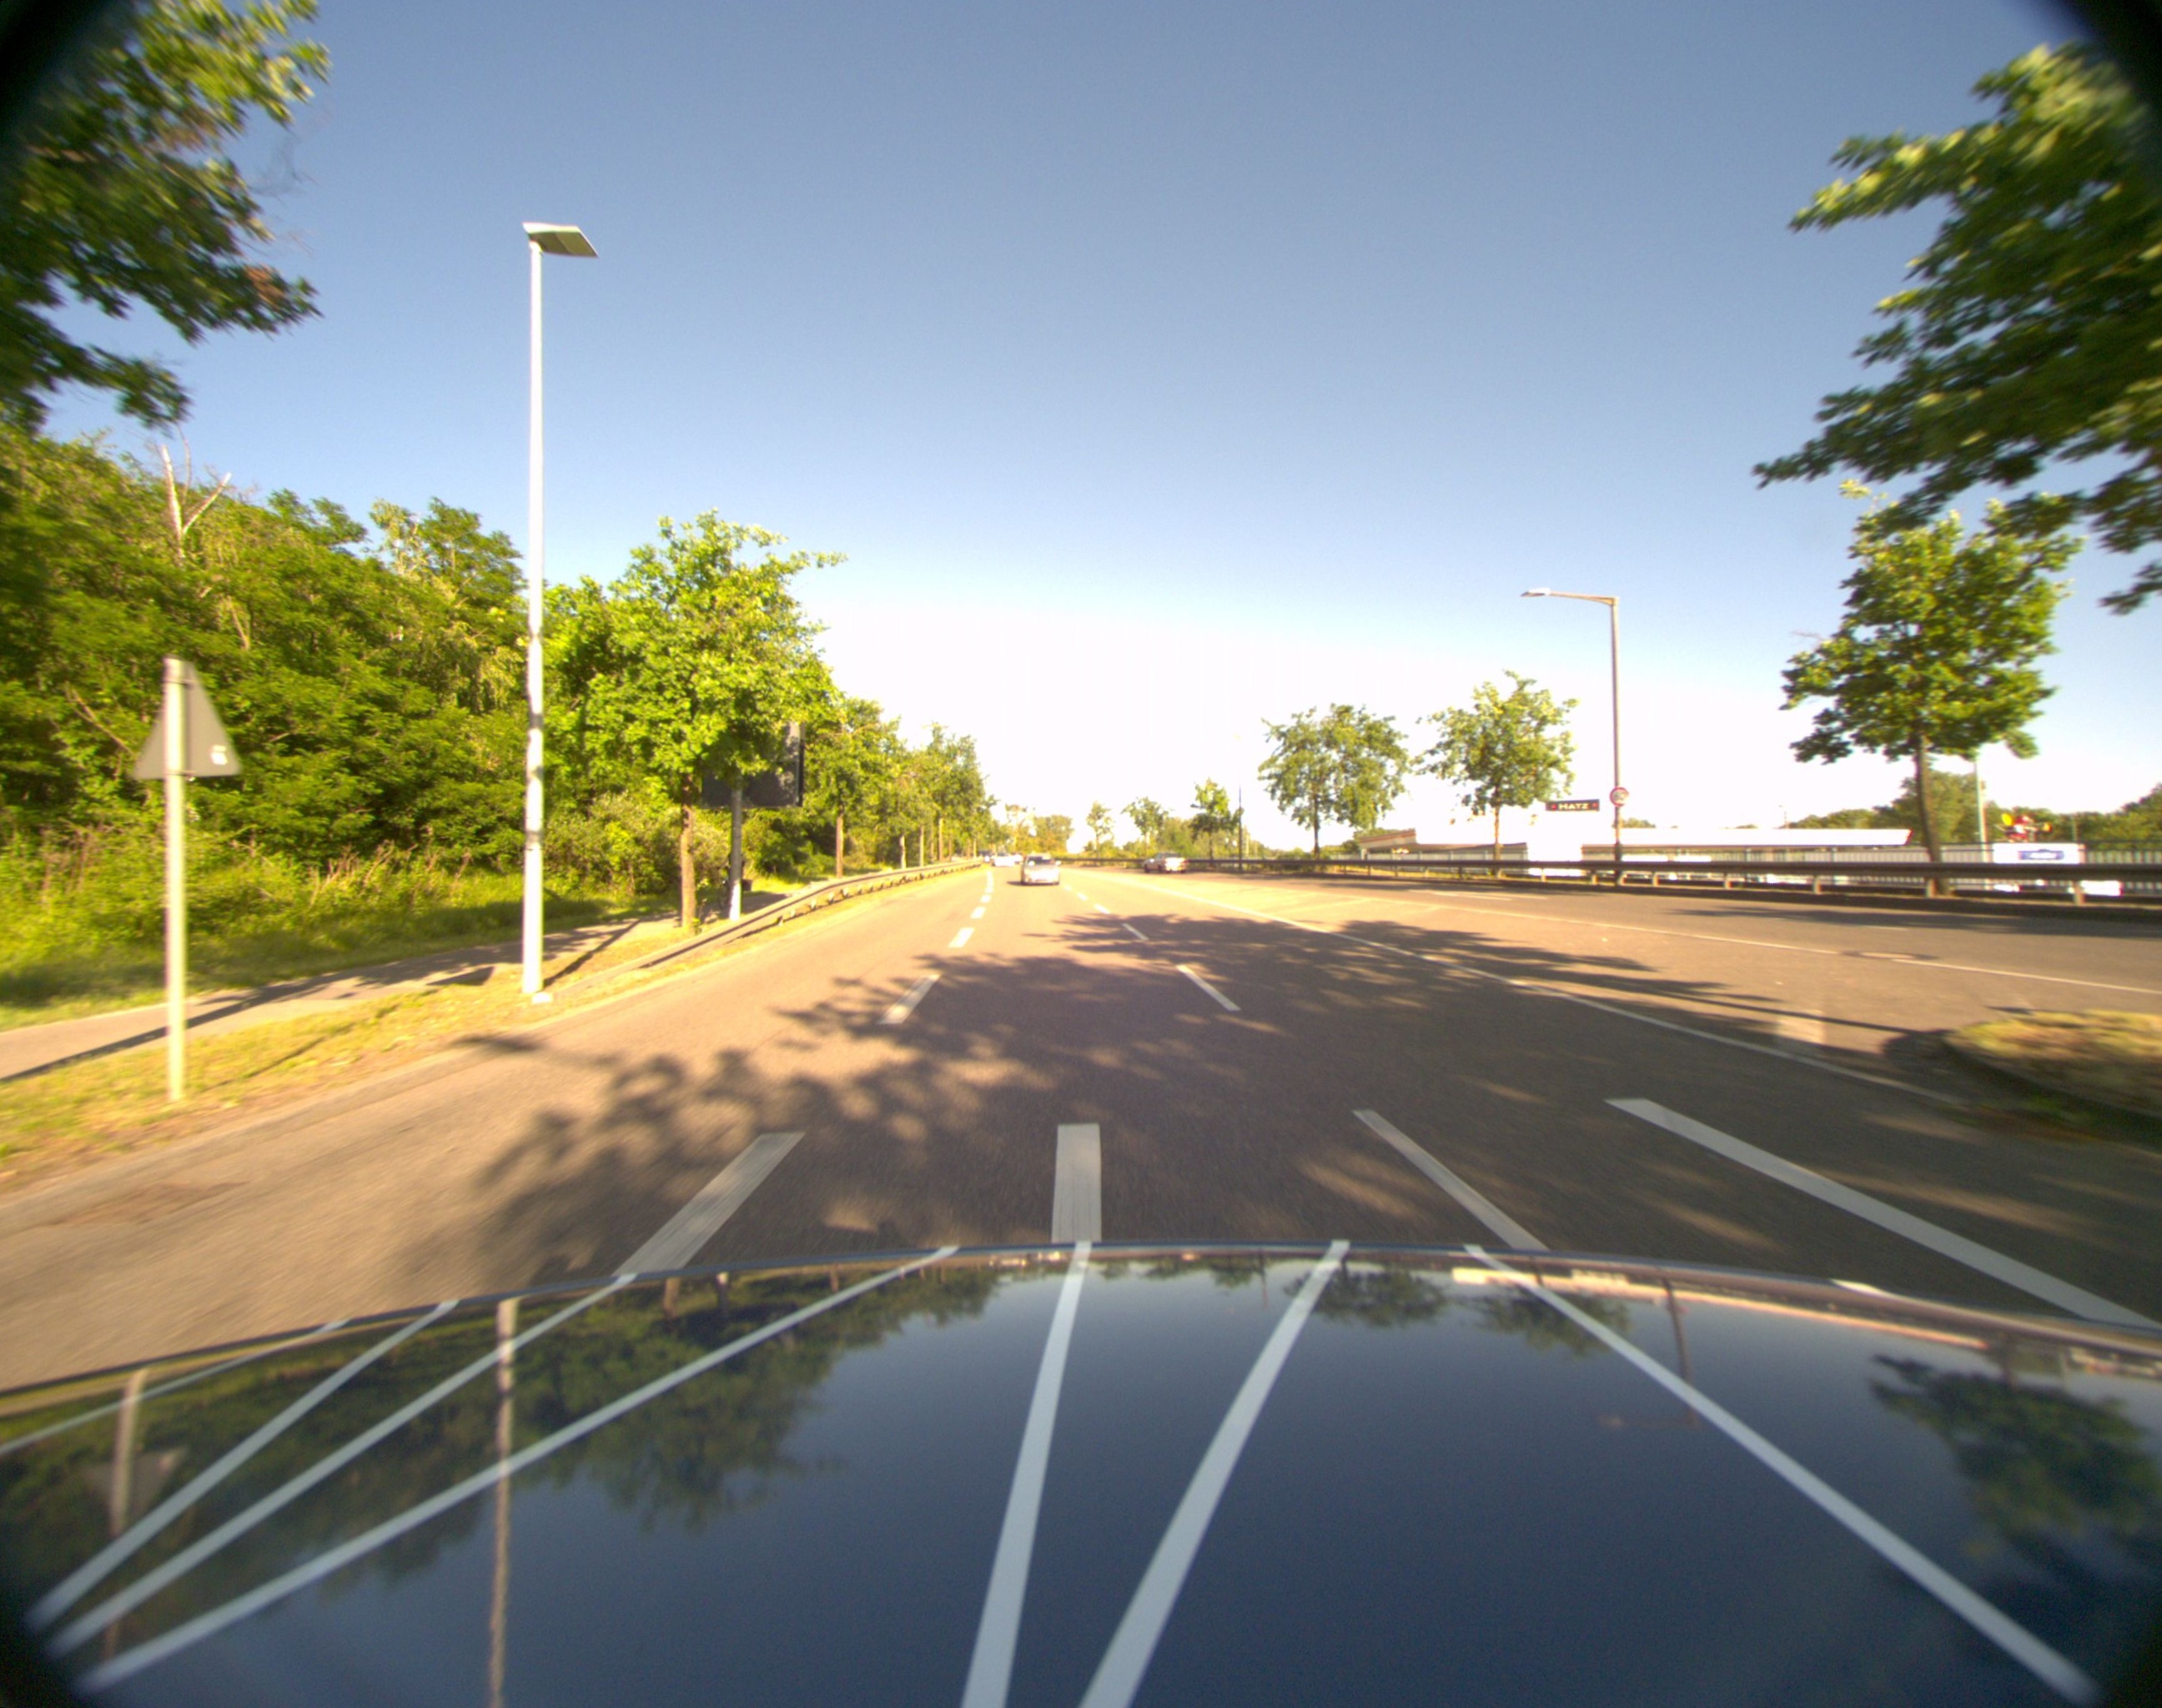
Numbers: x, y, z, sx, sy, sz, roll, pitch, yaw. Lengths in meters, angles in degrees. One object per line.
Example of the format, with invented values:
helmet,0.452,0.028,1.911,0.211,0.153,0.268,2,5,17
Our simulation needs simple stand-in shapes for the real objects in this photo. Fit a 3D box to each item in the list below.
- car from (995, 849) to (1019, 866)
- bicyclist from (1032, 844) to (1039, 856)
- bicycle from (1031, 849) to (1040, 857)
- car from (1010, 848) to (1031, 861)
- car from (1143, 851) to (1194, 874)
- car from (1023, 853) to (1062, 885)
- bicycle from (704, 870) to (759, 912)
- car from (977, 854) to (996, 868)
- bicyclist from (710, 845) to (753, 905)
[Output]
car,-7.556,0.383,77.211,2.152,1.558,4.194,3,0,-9
bicyclist,-6.469,-0.584,107.969,0.654,1.614,0.873,1,0,-17
bicycle,-6.480,-0.112,107.926,0.663,1.089,2.105,1,0,-17
car,-7.441,0.026,93.476,1.769,1.480,4.271,-1,1,-15
car,5.485,0.524,48.384,1.736,1.377,4.491,-1,0,-14
car,-1.884,0.689,36.394,1.684,1.433,3.857,2,0,-5
bicycle,-9.608,0.998,20.957,0.703,1.068,1.920,2,0,-3
car,-11.486,0.870,92.456,2.000,1.706,4.268,-1,-1,-10
bicyclist,-9.584,0.566,20.858,0.709,1.569,1.004,2,0,-3
